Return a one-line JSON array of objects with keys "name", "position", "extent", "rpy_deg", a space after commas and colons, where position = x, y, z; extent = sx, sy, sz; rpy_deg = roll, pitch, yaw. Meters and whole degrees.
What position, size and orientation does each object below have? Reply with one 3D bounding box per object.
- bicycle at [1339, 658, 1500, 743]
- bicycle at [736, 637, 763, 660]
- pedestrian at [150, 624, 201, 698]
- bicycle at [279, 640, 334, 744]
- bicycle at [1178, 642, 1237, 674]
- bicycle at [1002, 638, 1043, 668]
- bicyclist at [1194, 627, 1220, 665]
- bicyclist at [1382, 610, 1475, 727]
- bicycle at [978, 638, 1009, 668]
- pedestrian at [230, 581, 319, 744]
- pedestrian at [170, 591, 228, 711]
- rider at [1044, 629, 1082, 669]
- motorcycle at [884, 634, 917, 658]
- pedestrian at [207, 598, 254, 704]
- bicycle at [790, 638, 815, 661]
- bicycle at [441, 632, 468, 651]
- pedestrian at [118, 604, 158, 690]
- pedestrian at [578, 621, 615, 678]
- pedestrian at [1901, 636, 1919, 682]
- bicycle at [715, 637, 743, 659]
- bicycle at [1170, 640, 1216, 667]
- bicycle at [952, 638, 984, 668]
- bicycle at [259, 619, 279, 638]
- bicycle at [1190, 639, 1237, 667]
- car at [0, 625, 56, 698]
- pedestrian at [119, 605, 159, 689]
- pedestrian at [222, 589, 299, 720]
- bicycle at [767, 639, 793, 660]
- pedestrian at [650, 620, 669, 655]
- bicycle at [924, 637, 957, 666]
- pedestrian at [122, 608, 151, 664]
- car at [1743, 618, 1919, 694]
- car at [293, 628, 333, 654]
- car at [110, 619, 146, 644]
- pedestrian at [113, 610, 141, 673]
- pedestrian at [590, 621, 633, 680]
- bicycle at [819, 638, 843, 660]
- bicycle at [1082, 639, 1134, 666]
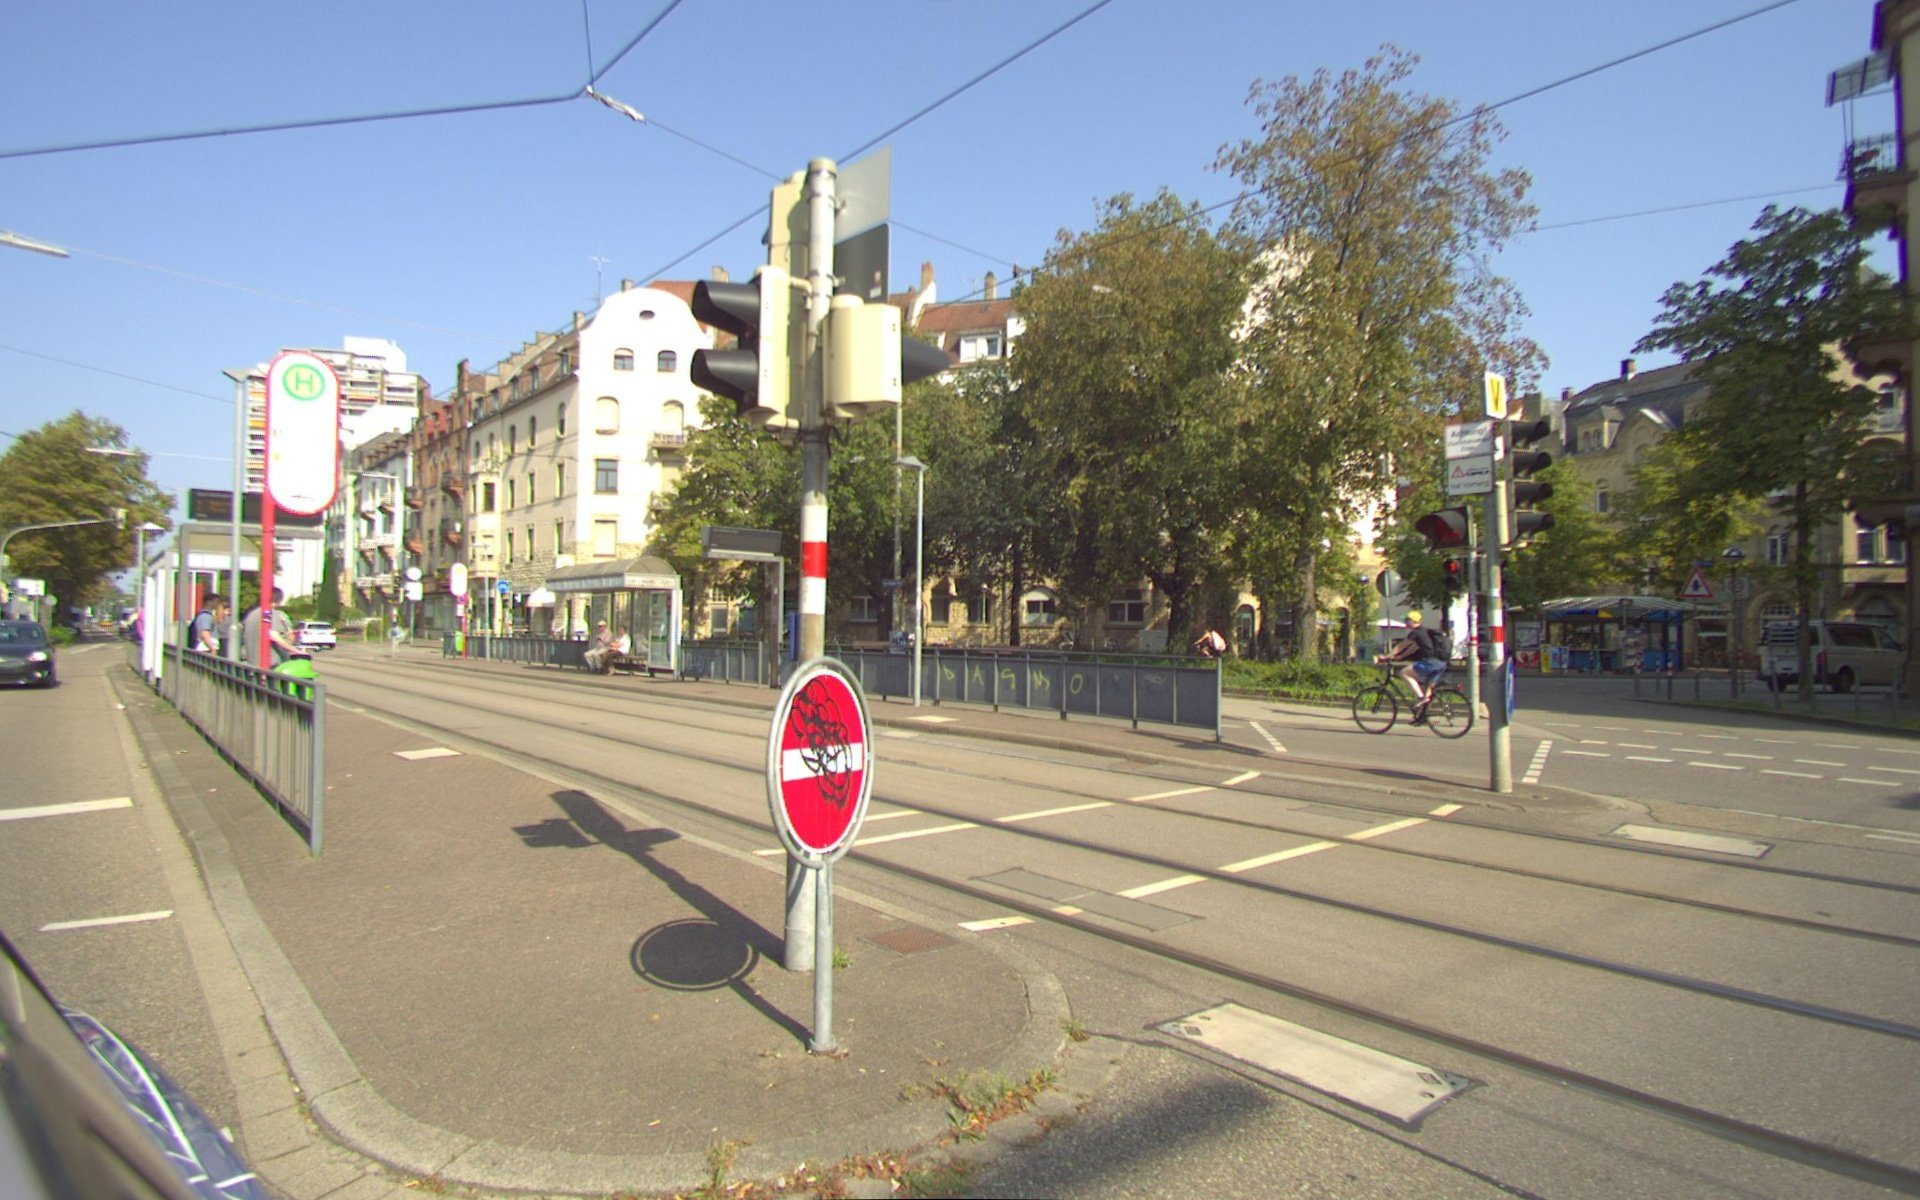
[{"name": "bicycle", "position": [6.698, 1.433, 14.870], "extent": [0.675, 1.112, 2.073], "rpy_deg": [2, -2, -39]}, {"name": "bicycle", "position": [-10.909, 2.489, 52.510], "extent": [0.688, 1.087, 2.337], "rpy_deg": [1, -1, 6]}, {"name": "pedestrian", "position": [-15.131, 1.170, 19.523], "extent": [0.699, 1.389, 0.623], "rpy_deg": [3, -3, -41]}, {"name": "bicycle", "position": [-7.638, 1.032, 11.827], "extent": [0.466, 1.112, 1.742], "rpy_deg": [2, -2, -33]}, {"name": "bicycle", "position": [9.171, 2.145, 37.519], "extent": [2.065, 1.112, 0.649], "rpy_deg": [0, -2, 32]}, {"name": "bicycle", "position": [3.002, 2.513, 48.274], "extent": [0.866, 1.381, 2.275], "rpy_deg": [-1, -3, 36]}, {"name": "bicyclist", "position": [9.169, 1.706, 37.540], "extent": [0.756, 1.370, 0.649], "rpy_deg": [-1, -2, 31]}, {"name": "bicyclist", "position": [6.818, 0.977, 14.744], "extent": [0.664, 1.626, 1.046], "rpy_deg": [2, -3, -39]}, {"name": "bicycle", "position": [1.651, 2.545, 49.054], "extent": [0.861, 1.381, 2.288], "rpy_deg": [0, -2, 20]}, {"name": "pedestrian", "position": [-7.842, 0.699, 11.573], "extent": [0.681, 1.780, 0.797], "rpy_deg": [2, -3, -43]}, {"name": "pedestrian", "position": [-11.893, 0.785, 15.816], "extent": [0.596, 1.820, 0.731], "rpy_deg": [2, -3, -43]}, {"name": "rider", "position": [4.030, 1.887, 39.567], "extent": [0.981, 1.523, 1.117], "rpy_deg": [1, -2, -37]}, {"name": "motorcycle", "position": [-3.002, 2.333, 51.343], "extent": [0.676, 1.186, 1.862], "rpy_deg": [0, -1, 33]}, {"name": "pedestrian", "position": [-12.537, 0.873, 17.394], "extent": [0.545, 1.774, 0.534], "rpy_deg": [2, -3, -43]}, {"name": "bicycle", "position": [-8.065, 2.507, 51.771], "extent": [0.688, 1.087, 2.337], "rpy_deg": [1, -1, 6]}, {"name": "bicycle", "position": [-29.679, 2.445, 59.405], "extent": [1.893, 1.112, 0.539], "rpy_deg": [-1, -3, 36]}, {"name": "pedestrian", "position": [-18.181, 1.036, 22.388], "extent": [0.628, 1.862, 0.635], "rpy_deg": [3, -3, -39]}, {"name": "pedestrian", "position": [-9.435, 1.277, 26.266], "extent": [0.668, 1.467, 0.719], "rpy_deg": [3, -3, -41]}, {"name": "pedestrian", "position": [33.402, 2.040, 34.906], "extent": [1.095, 1.566, 1.001], "rpy_deg": [1, -1, -23]}, {"name": "bicycle", "position": [-12.057, 2.508, 52.891], "extent": [0.688, 1.087, 2.337], "rpy_deg": [1, -1, 6]}, {"name": "bicycle", "position": [9.827, 2.258, 42.614], "extent": [2.057, 1.112, 0.658], "rpy_deg": [2, -2, -33]}, {"name": "bicycle", "position": [0.417, 2.574, 49.522], "extent": [0.861, 1.381, 2.288], "rpy_deg": [0, -2, 20]}, {"name": "bicycle", "position": [-70.242, 2.917, 102.858], "extent": [3.556, 1.872, 1.001], "rpy_deg": [-1, -1, 43]}, {"name": "bicycle", "position": [10.458, 2.183, 41.645], "extent": [2.057, 1.112, 0.658], "rpy_deg": [2, -2, -33]}, {"name": "car", "position": [-20.855, 1.275, 21.982], "extent": [1.749, 1.479, 4.005], "rpy_deg": [1, -2, -41]}, {"name": "pedestrian", "position": [-18.518, 1.049, 22.834], "extent": [0.628, 1.862, 0.635], "rpy_deg": [3, -3, -39]}, {"name": "pedestrian", "position": [-9.834, 0.755, 14.237], "extent": [0.758, 1.774, 0.681], "rpy_deg": [2, -3, -43]}, {"name": "bicycle", "position": [-9.351, 2.562, 52.721], "extent": [0.688, 1.087, 2.337], "rpy_deg": [1, -2, 6]}, {"name": "pedestrian", "position": [-16.279, 2.048, 54.844], "extent": [0.673, 1.882, 0.725], "rpy_deg": [-1, -3, 45]}, {"name": "bicycle", "position": [-0.960, 2.551, 50.356], "extent": [0.861, 1.381, 2.288], "rpy_deg": [0, -2, 20]}, {"name": "pedestrian", "position": [-26.857, 1.186, 33.013], "extent": [0.719, 1.783, 0.740], "rpy_deg": [0, -4, -38]}, {"name": "car", "position": [24.941, 1.566, 28.757], "extent": [4.513, 2.032, 2.086], "rpy_deg": [1, -2, -18]}, {"name": "car", "position": [-38.335, 2.403, 59.937], "extent": [1.705, 1.445, 3.931], "rpy_deg": [2, -2, -36]}, {"name": "car", "position": [-79.593, 3.002, 96.860], "extent": [2.054, 2.295, 4.840], "rpy_deg": [2, -2, -33]}, {"name": "pedestrian", "position": [-24.164, 1.195, 29.375], "extent": [0.551, 1.816, 0.677], "rpy_deg": [2, -3, -38]}, {"name": "pedestrian", "position": [-8.768, 1.263, 25.448], "extent": [0.782, 1.467, 0.719], "rpy_deg": [3, -3, -41]}, {"name": "bicycle", "position": [-6.580, 2.474, 51.647], "extent": [0.688, 1.087, 2.337], "rpy_deg": [1, -2, 6]}, {"name": "bicycle", "position": [6.553, 2.311, 44.891], "extent": [0.762, 1.112, 2.335], "rpy_deg": [2, -2, -44]}]
